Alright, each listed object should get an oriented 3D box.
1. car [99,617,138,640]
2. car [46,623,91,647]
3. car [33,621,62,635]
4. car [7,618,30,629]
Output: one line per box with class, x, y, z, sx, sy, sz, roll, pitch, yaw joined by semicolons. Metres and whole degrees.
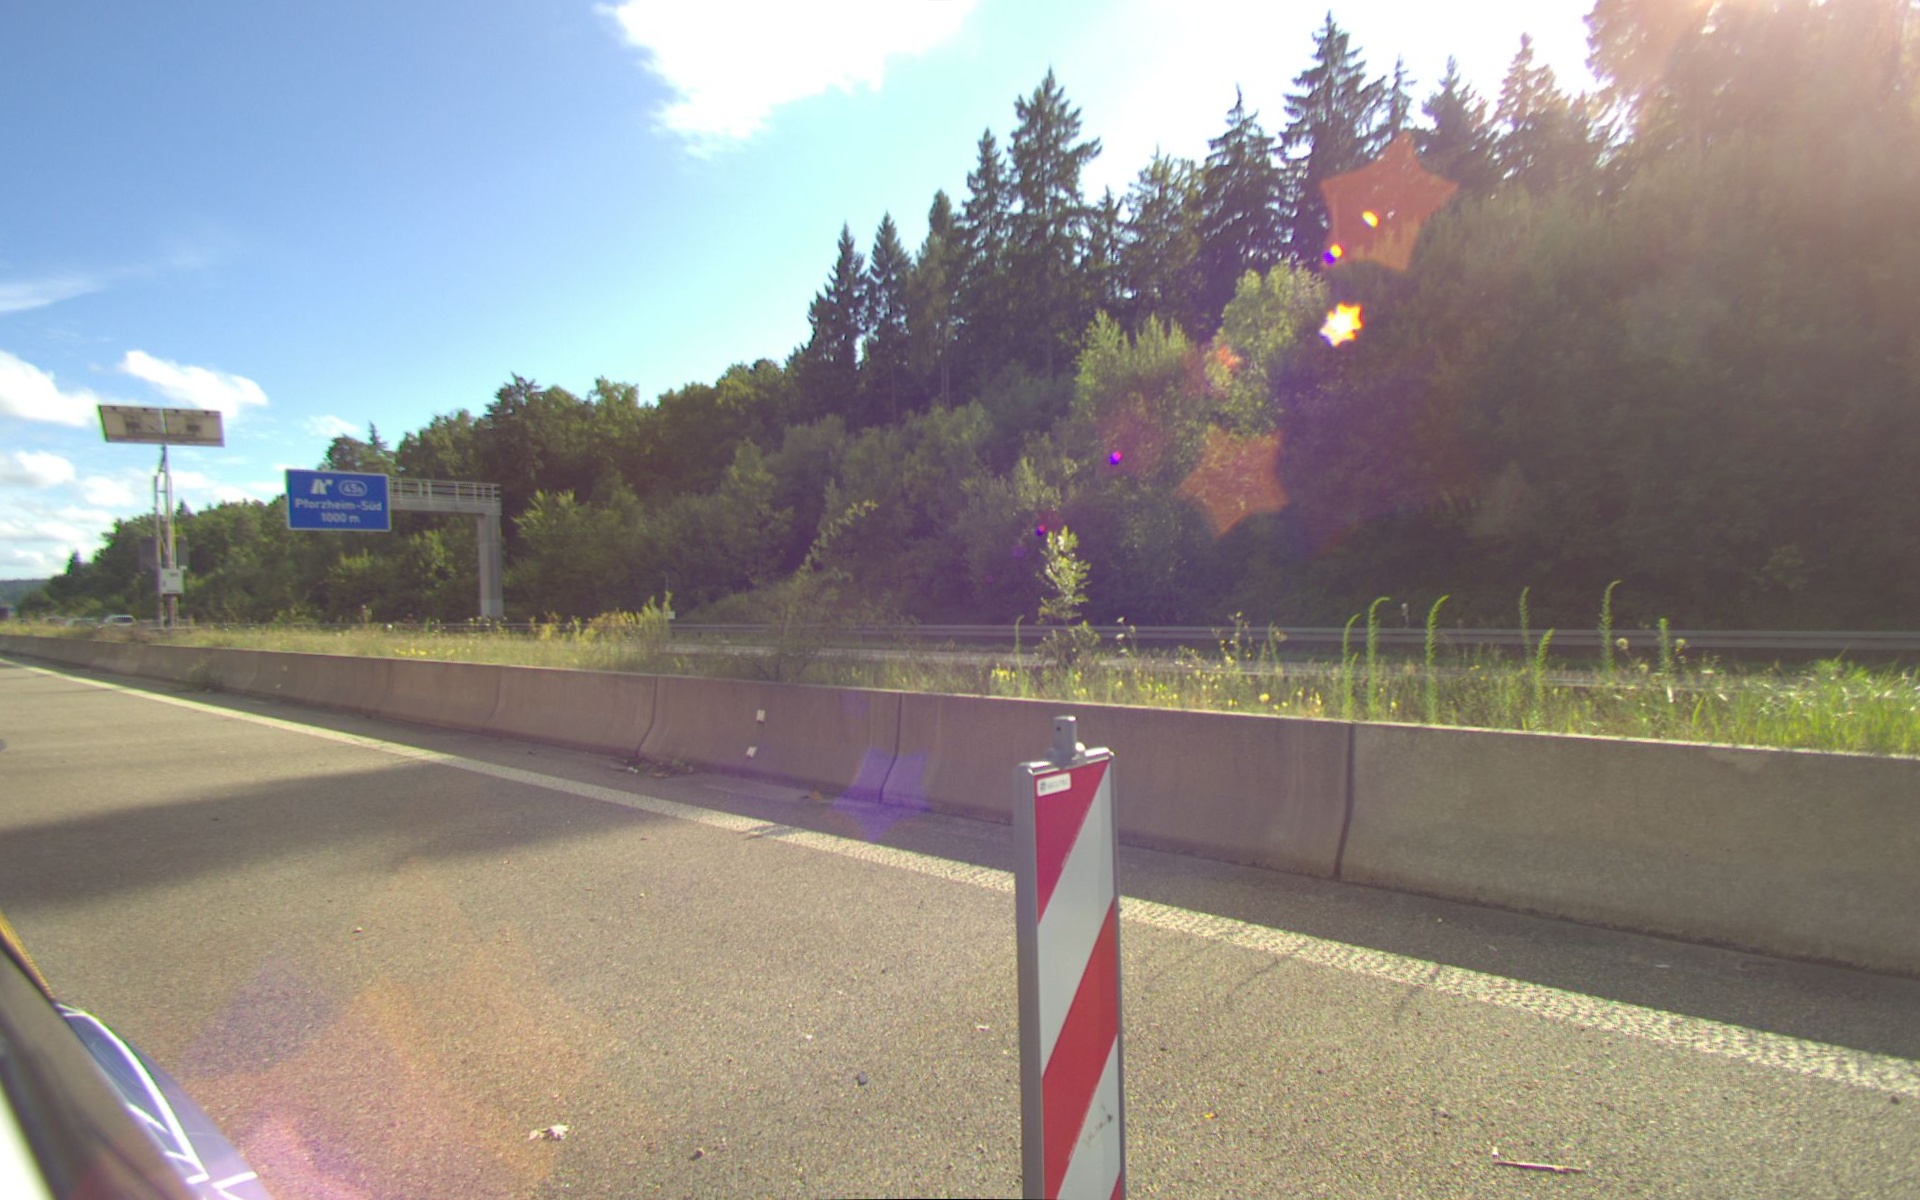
car;-63.971;2.145;76.897;3.909;1.593;1.643;-1;0;41
car;-56.278;2.162;63.873;3.911;1.398;1.643;-1;0;42
car;-91.624;2.802;101.610;3.909;1.398;1.643;-1;0;41
car;-131.343;3.314;141.179;3.909;1.475;1.920;-1;0;41
